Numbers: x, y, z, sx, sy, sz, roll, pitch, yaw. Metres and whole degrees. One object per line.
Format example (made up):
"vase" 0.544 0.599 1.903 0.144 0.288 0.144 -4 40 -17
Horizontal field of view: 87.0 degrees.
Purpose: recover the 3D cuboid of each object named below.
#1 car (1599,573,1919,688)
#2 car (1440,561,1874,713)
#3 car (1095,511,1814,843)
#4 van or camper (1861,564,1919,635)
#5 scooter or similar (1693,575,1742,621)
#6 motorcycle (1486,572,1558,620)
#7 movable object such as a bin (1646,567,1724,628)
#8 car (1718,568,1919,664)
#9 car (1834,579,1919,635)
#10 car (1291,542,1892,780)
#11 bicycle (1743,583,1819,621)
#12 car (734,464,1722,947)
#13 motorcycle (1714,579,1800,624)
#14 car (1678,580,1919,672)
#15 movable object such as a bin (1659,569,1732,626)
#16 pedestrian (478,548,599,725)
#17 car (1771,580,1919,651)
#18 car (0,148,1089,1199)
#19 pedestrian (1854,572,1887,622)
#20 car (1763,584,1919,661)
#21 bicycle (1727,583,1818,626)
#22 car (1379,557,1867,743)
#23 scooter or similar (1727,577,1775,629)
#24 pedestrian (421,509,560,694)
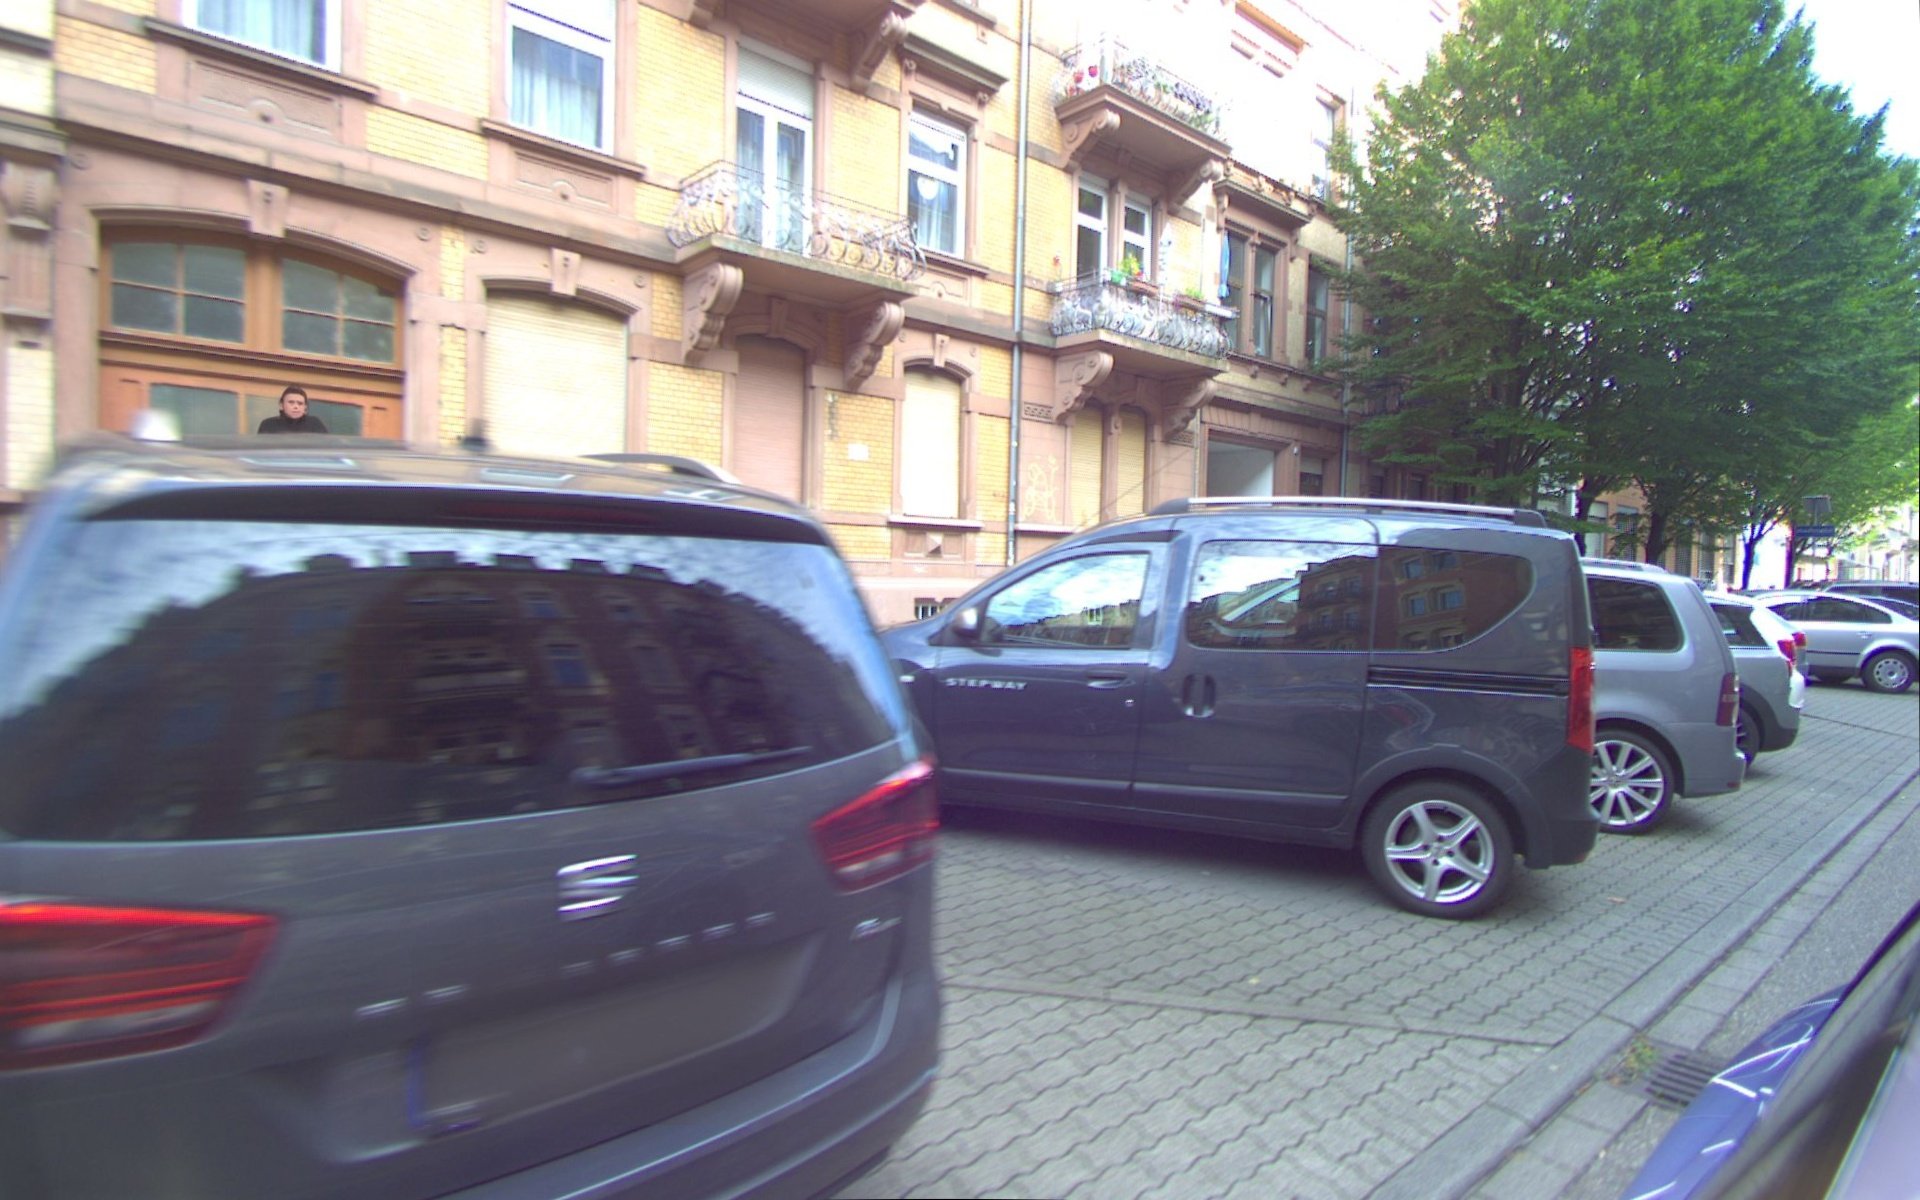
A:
"car" 13.002 0.435 15.960 4.552 1.469 1.783 4 3 18
"car" 8.410 0.364 12.662 3.942 1.478 1.880 3 4 14
"car" 3.109 0.348 7.136 3.950 1.762 1.829 3 2 19
"van or camper" 31.617 -0.021 32.153 3.949 2.206 1.987 1 1 20
"scooter or similar" 24.298 -0.075 32.478 0.515 1.329 1.321 4 4 4
"motorcycle" 14.757 -0.113 26.550 2.448 1.202 0.895 0 1 -41
"movable object such as a bin" 20.255 -0.084 28.282 1.144 1.476 1.375 0 9 -43
"car" 17.706 0.305 19.951 3.943 1.720 1.844 2 1 15
"car" 29.771 0.296 30.464 4.745 1.562 1.861 4 3 18
"car" 5.108 0.396 8.844 3.940 1.567 1.862 4 3 13
"bicycle" 28.447 0.060 35.088 0.608 1.133 1.895 0 6 -42
"car" 1.142 0.295 5.517 4.347 1.844 1.745 4 3 19
"motorcycle" 25.800 0.039 32.793 0.813 1.241 1.983 0 5 -42
"car" 15.569 0.438 18.020 4.078 1.435 1.861 2 1 15
"movable object such as a bin" 21.086 -0.084 29.009 1.020 1.462 1.375 0 7 -43
"pedestrian" -3.179 0.247 7.623 0.662 1.233 0.602 0 4 -41
"car" 21.691 0.387 23.556 3.956 1.455 1.712 4 3 23
"car" -1.987 0.306 3.178 1.778 1.806 4.648 3 3 -41
"pedestrian" 33.808 -0.125 37.575 0.937 1.759 0.753 0 5 -45
"car" 19.985 0.448 21.556 4.064 1.539 1.838 0 2 14
"bicycle" 25.551 0.121 31.846 0.806 1.108 2.026 0 6 -40
"car" 6.778 0.413 10.894 3.948 1.467 1.727 5 4 18
"scooter or similar" 21.947 0.079 28.083 1.294 1.397 0.526 0 0 -26
"pedestrian" -4.124 -0.015 8.885 0.927 1.515 0.800 4 2 43
